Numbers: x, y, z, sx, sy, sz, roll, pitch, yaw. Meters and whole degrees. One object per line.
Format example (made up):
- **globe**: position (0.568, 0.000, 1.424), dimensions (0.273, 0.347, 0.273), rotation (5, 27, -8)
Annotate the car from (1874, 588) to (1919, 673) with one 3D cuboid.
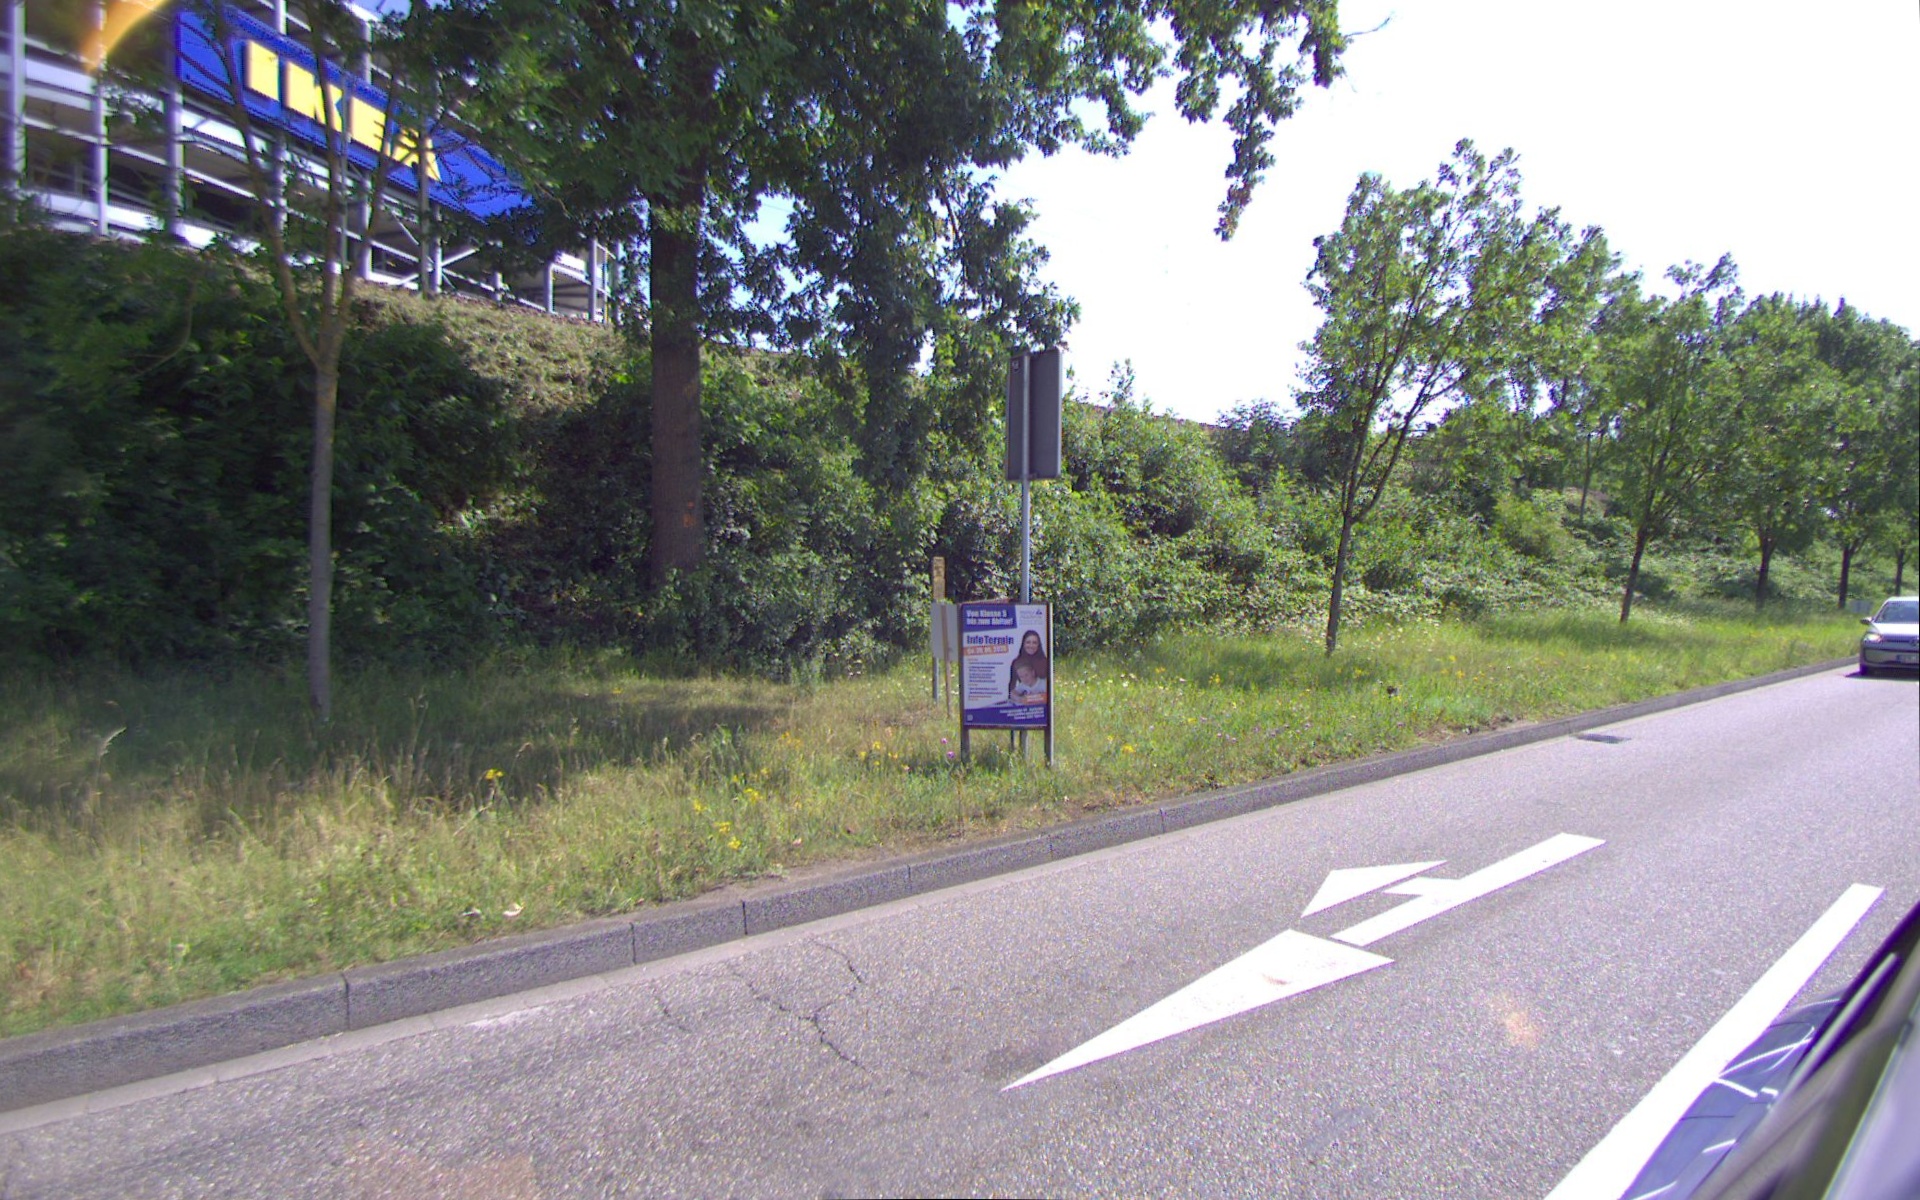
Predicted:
- **car**: position (18.148, 0.518, 18.657), dimensions (3.618, 1.455, 1.702), rotation (-1, 1, -44)
